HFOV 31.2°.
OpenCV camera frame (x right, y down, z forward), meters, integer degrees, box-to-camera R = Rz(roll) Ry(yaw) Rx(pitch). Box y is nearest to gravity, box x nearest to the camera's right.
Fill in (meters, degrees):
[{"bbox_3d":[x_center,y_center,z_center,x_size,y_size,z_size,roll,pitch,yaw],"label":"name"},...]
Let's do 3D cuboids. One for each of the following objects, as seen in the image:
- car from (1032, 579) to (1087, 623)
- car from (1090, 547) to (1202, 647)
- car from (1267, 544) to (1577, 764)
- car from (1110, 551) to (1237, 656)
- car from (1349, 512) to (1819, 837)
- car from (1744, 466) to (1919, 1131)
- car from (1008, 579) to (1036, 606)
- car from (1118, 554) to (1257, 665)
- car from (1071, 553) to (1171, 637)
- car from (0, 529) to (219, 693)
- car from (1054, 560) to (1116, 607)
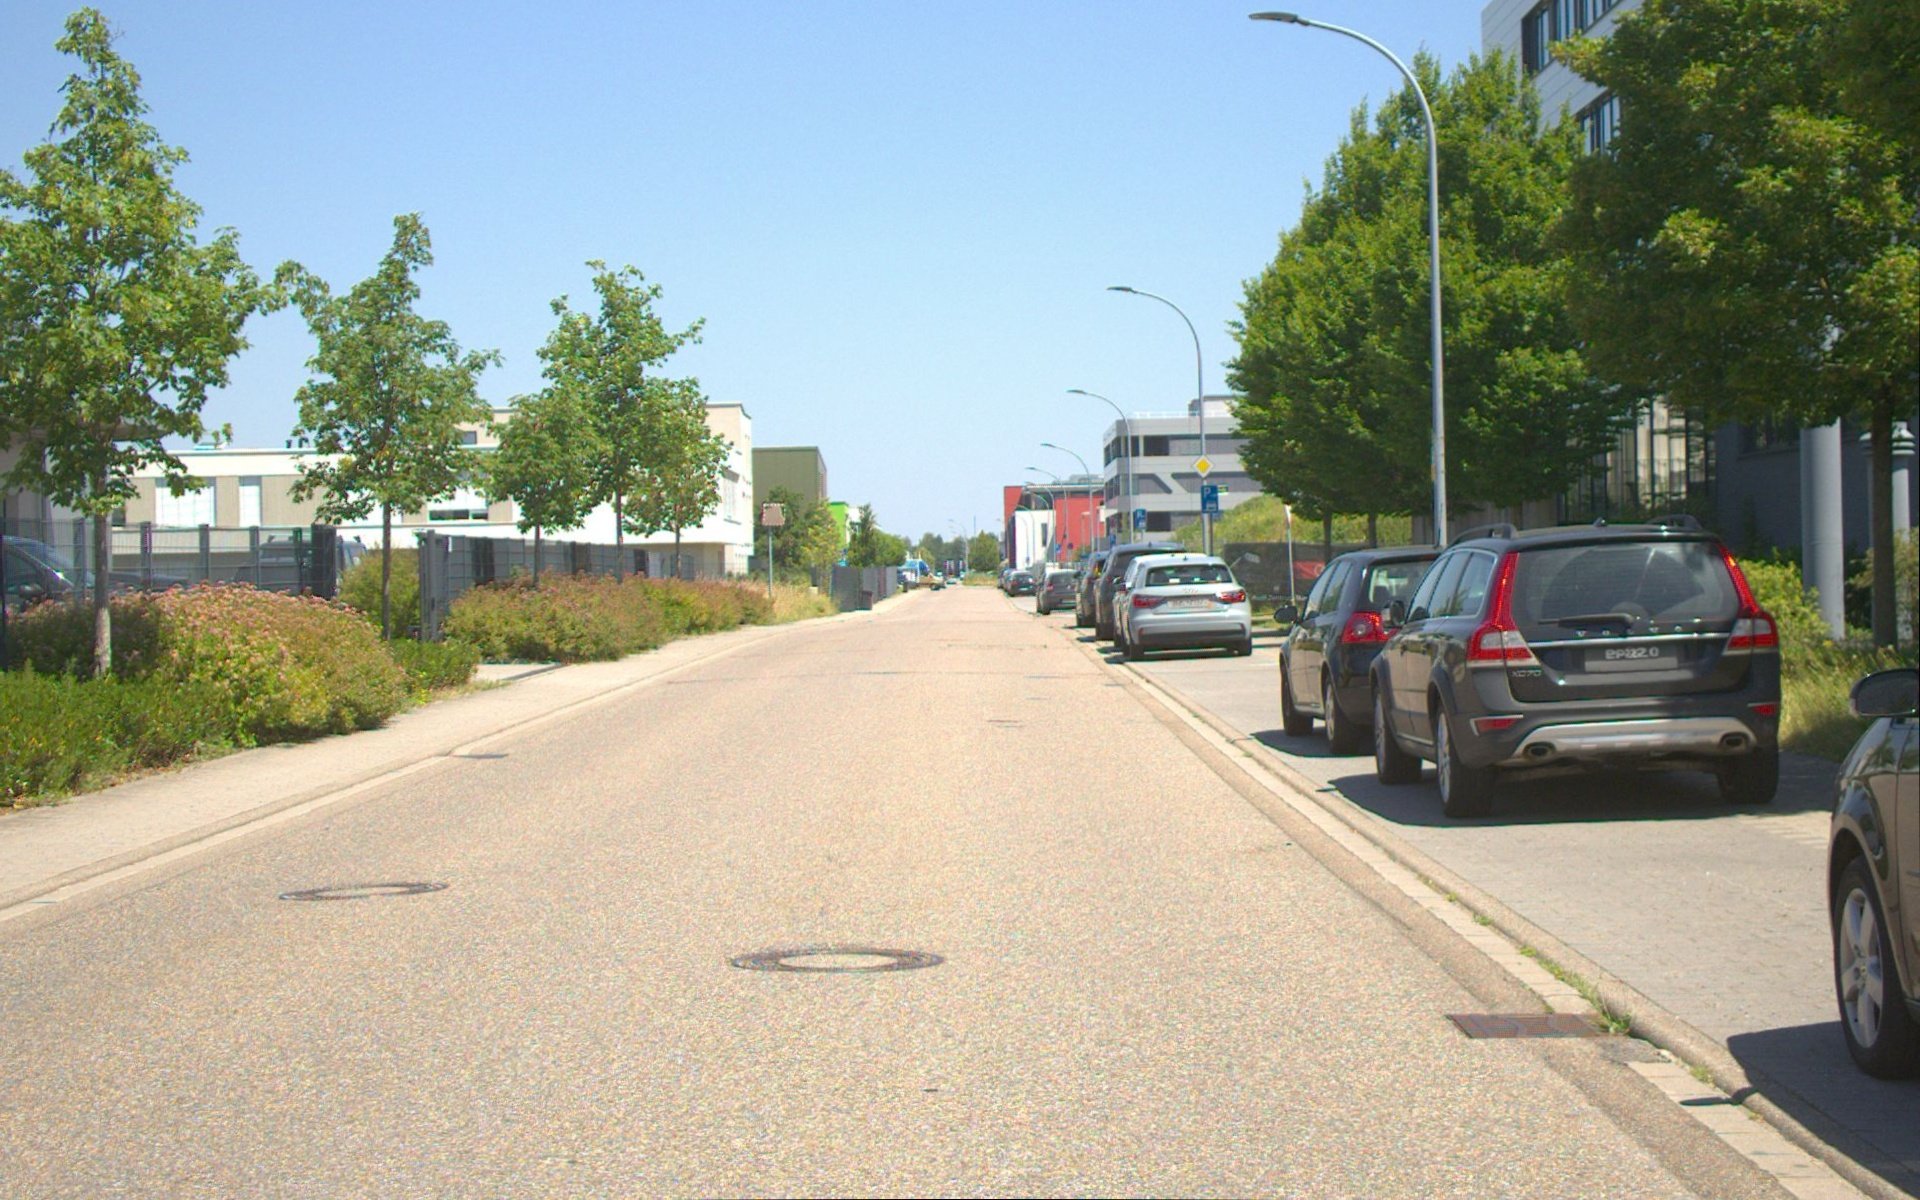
[{"bbox_3d":[3.750,0.041,129.344,1.908,1.541,4.000,-3,0,3],"label":"car"},{"bbox_3d":[3.272,-0.077,61.179,1.758,1.657,4.363,-2,1,1],"label":"car"},{"bbox_3d":[3.420,0.352,26.164,1.692,1.471,4.269,-2,1,0],"label":"car"},{"bbox_3d":[3.301,0.028,53.675,1.716,1.476,4.031,-3,1,1],"label":"car"},{"bbox_3d":[3.504,0.359,20.187,1.807,1.612,4.715,-2,1,0],"label":"car"},{"bbox_3d":[3.249,0.474,8.048,1.737,1.664,4.368,-2,1,0],"label":"car"},{"bbox_3d":[4.023,-0.519,224.363,1.776,1.722,4.000,1,0,0],"label":"car"},{"bbox_3d":[3.208,0.107,49.093,1.716,1.418,3.951,-3,1,1],"label":"car"},{"bbox_3d":[3.421,-0.122,73.887,1.803,1.656,4.608,-3,1,-1],"label":"car"},{"bbox_3d":[-11.322,0.122,39.817,5.059,1.845,1.964,0,0,0],"label":"car"},{"bbox_3d":[4.150,-0.533,113.452,1.908,1.443,4.000,-3,0,3],"label":"car"}]
